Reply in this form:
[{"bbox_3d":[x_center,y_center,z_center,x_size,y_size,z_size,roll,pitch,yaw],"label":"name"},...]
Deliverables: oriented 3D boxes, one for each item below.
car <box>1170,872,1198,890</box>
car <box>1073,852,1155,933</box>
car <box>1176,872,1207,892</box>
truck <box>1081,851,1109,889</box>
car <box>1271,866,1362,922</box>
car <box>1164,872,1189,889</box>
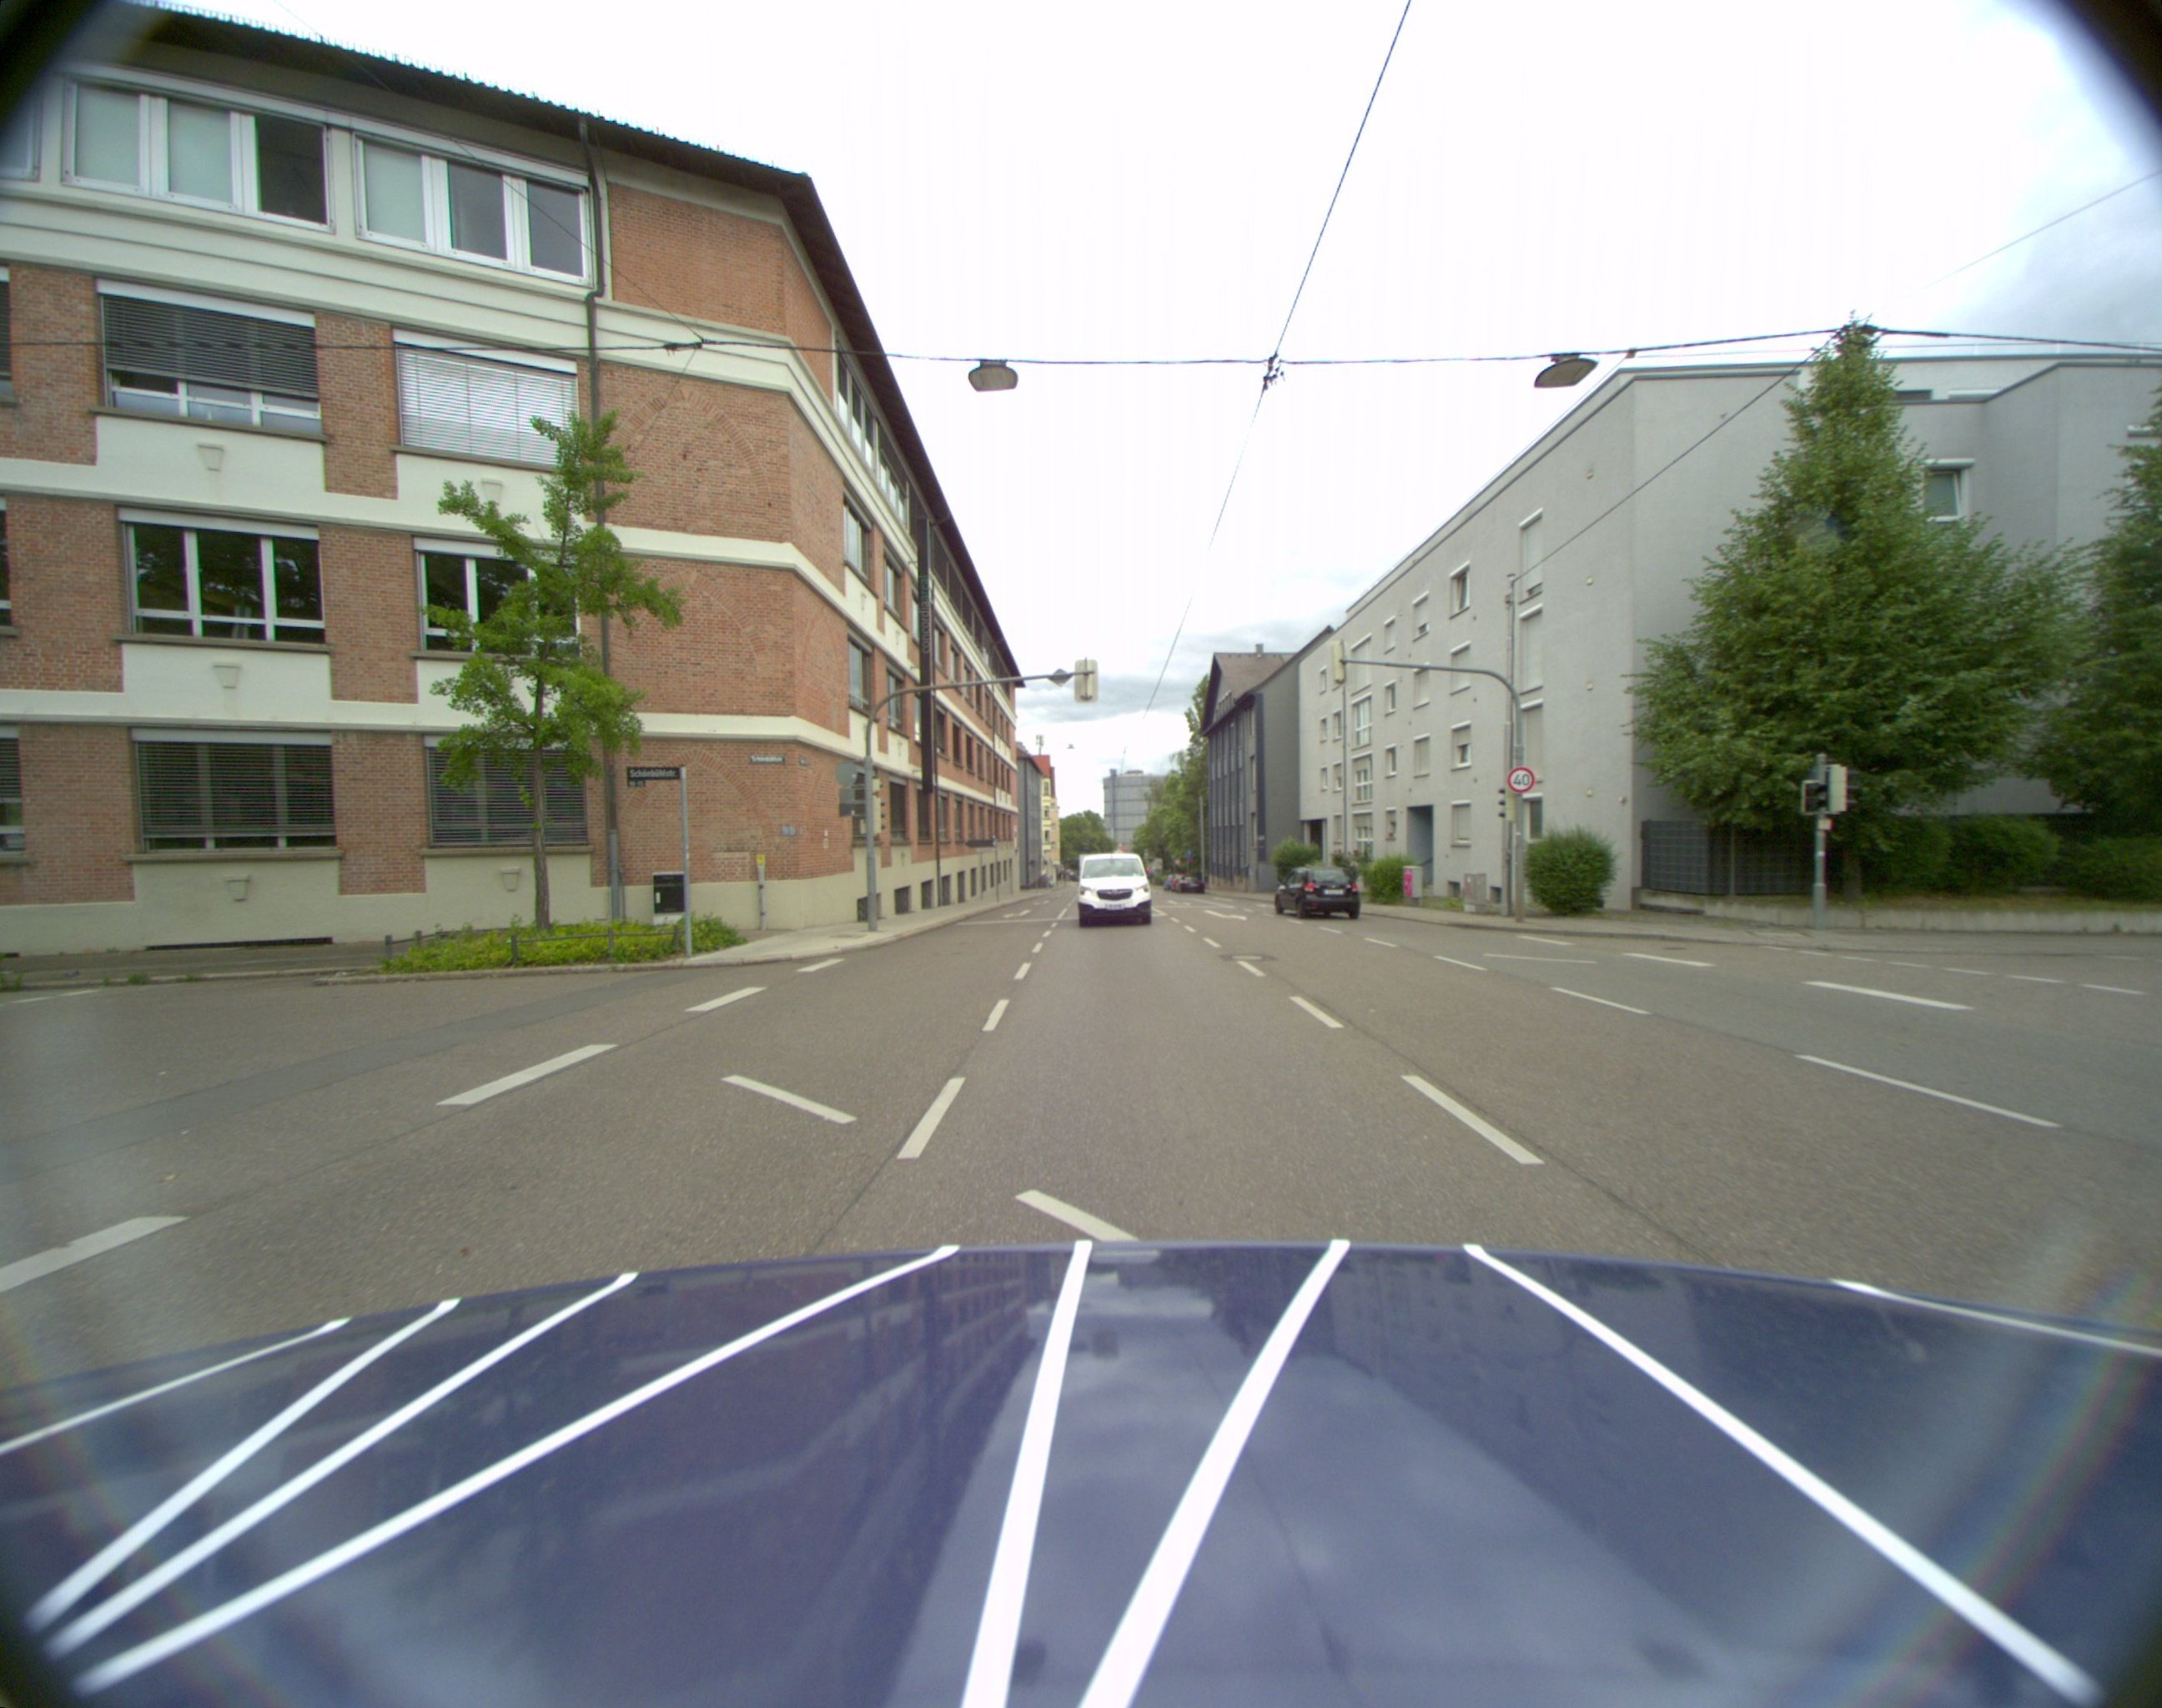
[{"bbox_3d":[8.429,2.184,62.414,1.799,1.400,4.001,-1,-1,1],"label":"car"},{"bbox_3d":[0.821,0.956,19.911,1.850,1.831,4.285,-2,-2,1],"label":"car"},{"bbox_3d":[8.176,2.037,56.491,1.799,1.400,4.001,-1,-1,1],"label":"car"},{"bbox_3d":[1.373,1.518,73.707,2.545,3.477,8.522,-1,-1,1],"label":"truck"},{"bbox_3d":[6.719,1.097,22.021,1.591,1.455,3.616,-1,-1,1],"label":"car"},{"bbox_3d":[8.496,2.342,67.869,1.799,1.400,4.001,-1,-1,1],"label":"car"}]
